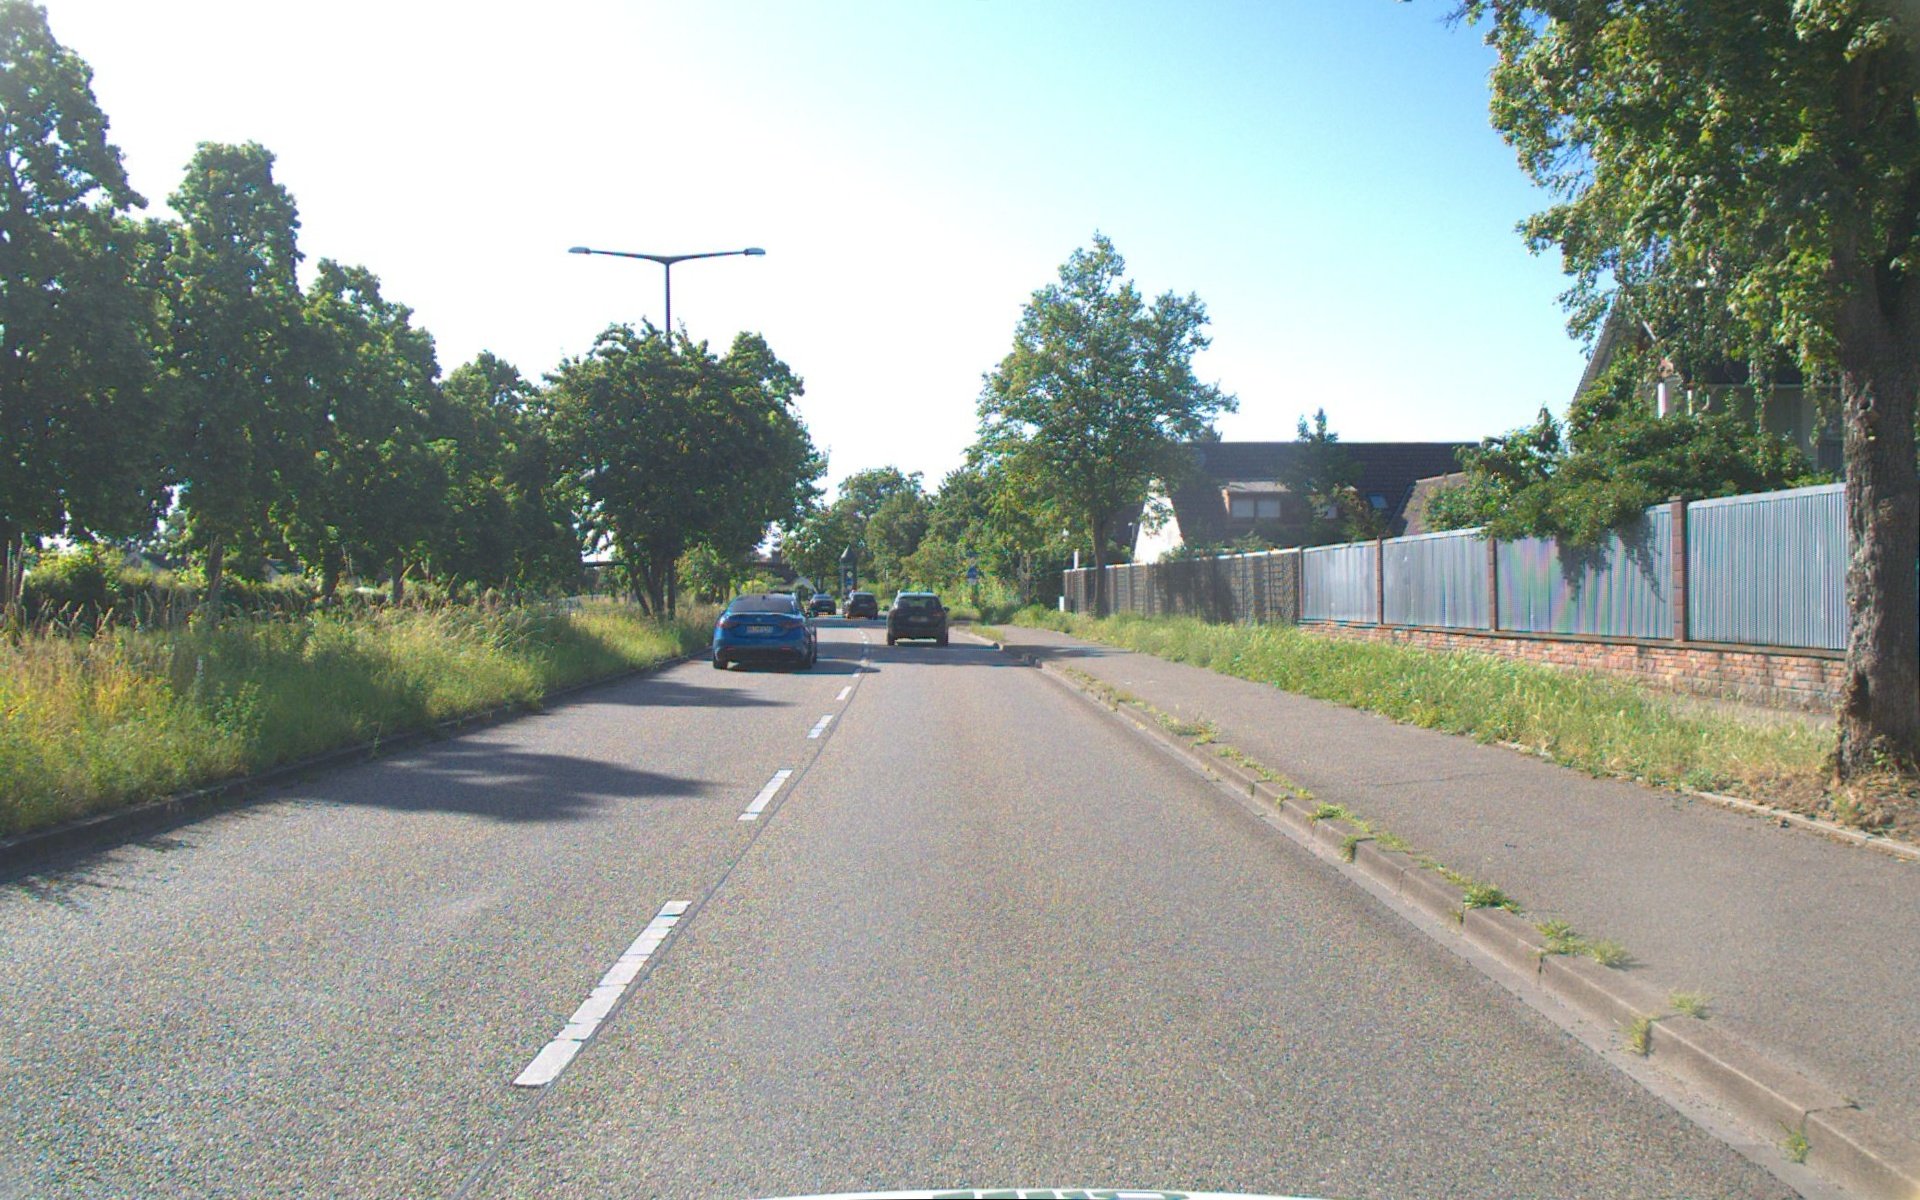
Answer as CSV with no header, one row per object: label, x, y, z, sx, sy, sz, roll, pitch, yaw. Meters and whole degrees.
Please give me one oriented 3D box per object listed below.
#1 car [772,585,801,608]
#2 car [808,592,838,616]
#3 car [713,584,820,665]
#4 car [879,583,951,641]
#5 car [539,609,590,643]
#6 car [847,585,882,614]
car,-12.193,-0.255,115.949,1.879,1.538,4.061,0,0,-7
car,-9.887,0.305,119.258,1.880,1.707,4.003,0,0,-10
car,-3.750,0.501,32.690,1.802,1.500,4.181,0,-1,-3
car,-1.359,0.325,48.139,1.878,1.607,4.178,0,0,-5
car,-19.513,1.258,81.827,1.637,1.493,4.177,-3,1,-3
car,-5.532,-0.014,95.357,1.878,1.607,4.178,0,0,-5
